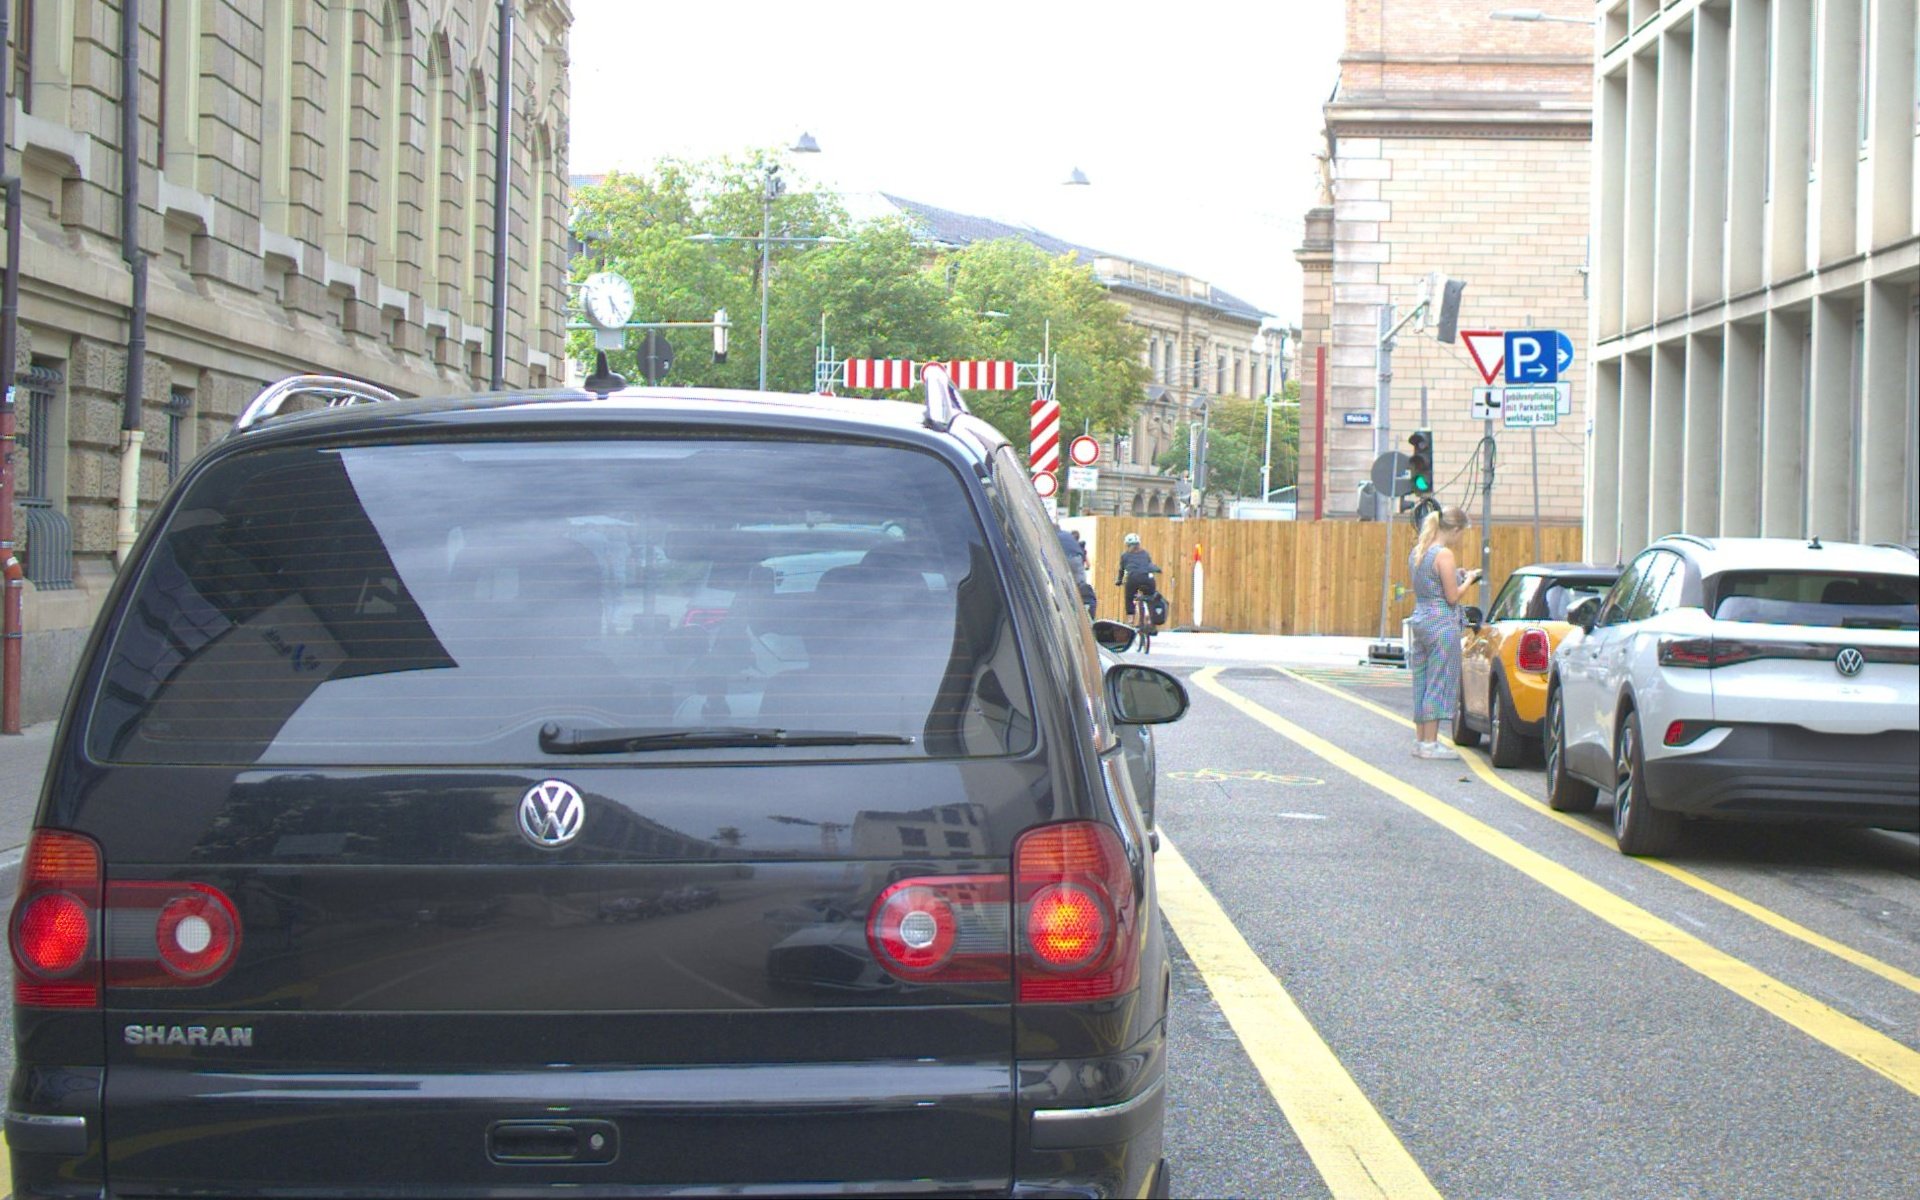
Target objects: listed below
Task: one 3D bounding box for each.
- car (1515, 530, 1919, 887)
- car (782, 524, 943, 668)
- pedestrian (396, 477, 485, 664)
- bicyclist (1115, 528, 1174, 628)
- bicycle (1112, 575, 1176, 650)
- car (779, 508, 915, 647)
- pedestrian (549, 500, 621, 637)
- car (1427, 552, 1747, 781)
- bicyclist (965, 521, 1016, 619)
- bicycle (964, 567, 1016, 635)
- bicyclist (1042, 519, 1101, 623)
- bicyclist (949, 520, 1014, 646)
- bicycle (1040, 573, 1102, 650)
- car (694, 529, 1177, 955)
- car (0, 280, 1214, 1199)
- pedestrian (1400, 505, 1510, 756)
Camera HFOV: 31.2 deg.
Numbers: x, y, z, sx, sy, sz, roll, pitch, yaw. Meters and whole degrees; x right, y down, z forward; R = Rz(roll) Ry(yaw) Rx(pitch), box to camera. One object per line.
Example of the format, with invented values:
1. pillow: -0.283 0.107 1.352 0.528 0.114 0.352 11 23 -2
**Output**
1. car: 4.256 0.505 18.522 1.860 1.599 4.512 4 1 2
2. car: -1.105 -0.068 40.268 1.773 1.580 4.000 1 1 -1
3. pedestrian: -5.203 -0.294 34.460 0.664 1.813 1.048 3 0 -1
4. bicyclist: 2.547 -0.305 47.567 0.735 1.371 0.832 1 0 -1
5. bicycle: 2.537 0.166 47.587 0.735 1.005 2.069 1 1 -1
6. car: -1.591 -0.317 47.270 1.734 1.784 4.104 1 1 -3
7. pedestrian: -5.128 -0.428 47.058 0.792 1.813 1.048 3 0 -1
8. car: 4.491 0.427 25.145 1.680 1.430 3.886 4 1 2
9. bicyclist: 0.461 -0.456 52.451 0.735 1.465 0.809 1 0 -1
10. bicycle: 0.448 0.001 52.496 0.735 1.005 2.069 1 1 -1
11. bicyclist: 1.489 -0.384 46.116 0.735 1.372 0.829 1 0 -1
12. bicyclist: 0.249 -0.206 41.029 0.735 1.473 0.884 1 0 -1
13. bicycle: 1.478 0.144 46.137 0.735 1.005 2.069 1 1 -1
14. car: -0.009 0.480 14.201 1.678 1.464 4.103 1 1 2
15. car: -0.496 0.457 6.657 1.790 1.784 4.103 1 1 2
16. pedestrian: 3.531 0.209 24.571 0.698 1.757 0.706 1 0 3
